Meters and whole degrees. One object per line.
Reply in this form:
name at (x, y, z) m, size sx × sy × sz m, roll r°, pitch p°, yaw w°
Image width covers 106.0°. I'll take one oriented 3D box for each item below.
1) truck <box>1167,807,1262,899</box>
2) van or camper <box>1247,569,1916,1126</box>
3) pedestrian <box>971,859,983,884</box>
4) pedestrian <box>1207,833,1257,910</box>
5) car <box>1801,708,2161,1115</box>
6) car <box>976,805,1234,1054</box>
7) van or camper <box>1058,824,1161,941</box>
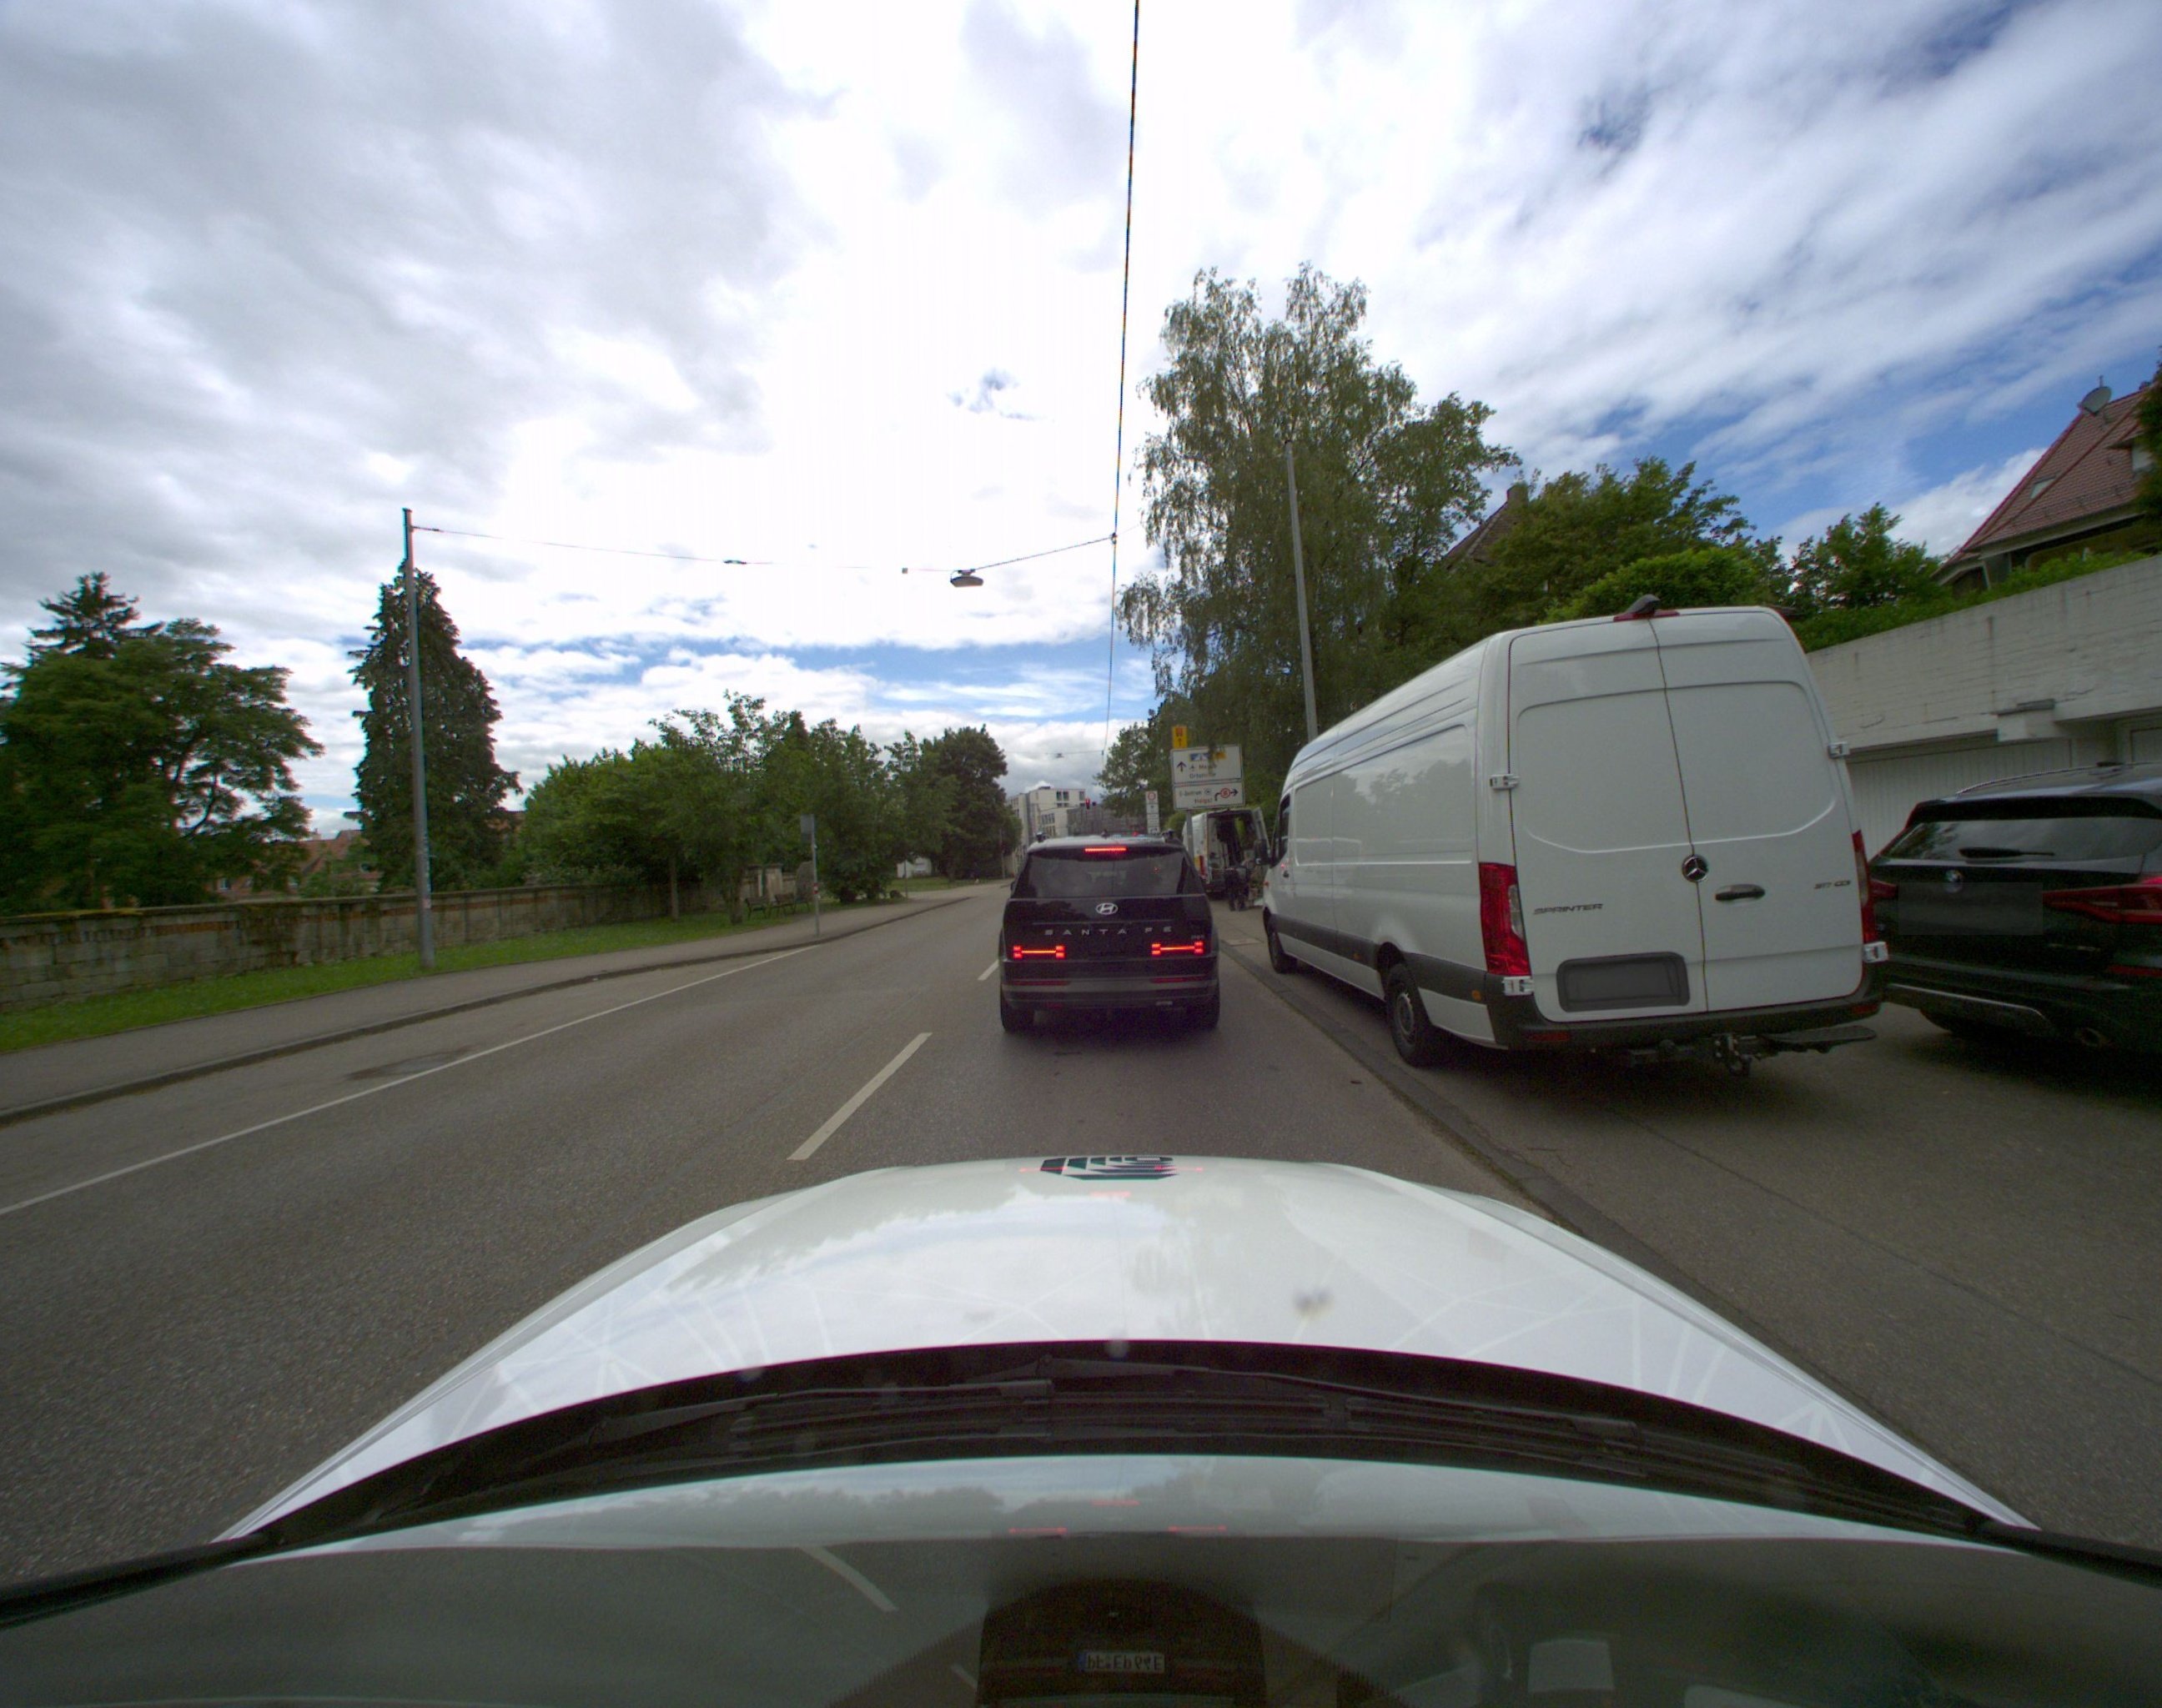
truck at (4.217, -0.003, 26.634) m, size 1.937 × 2.561 × 5.213 m, roll -5°, pitch -1°, yaw -1°
van or camper at (3.097, -0.025, 7.244) m, size 1.986 × 2.620 × 6.543 m, roll -3°, pitch 0°, yaw 2°
pedestrian at (-7.273, 1.245, 56.959) m, size 0.737 × 1.715 × 0.791 m, roll -3°, pitch 0°, yaw -5°
pedestrian at (3.620, 0.415, 19.459) m, size 0.750 × 1.797 × 0.878 m, roll -3°, pitch -1°, yaw 40°
car at (6.825, 0.134, 4.273) m, size 4.398 × 1.750 × 1.739 m, roll -3°, pitch 0°, yaw 3°
car at (0.241, 0.567, 8.096) m, size 1.883 × 1.819 × 4.002 m, roll -1°, pitch 0°, yaw 2°
van or camper at (0.581, 0.519, 16.658) m, size 1.748 × 2.013 × 4.002 m, roll -3°, pitch 0°, yaw 2°
